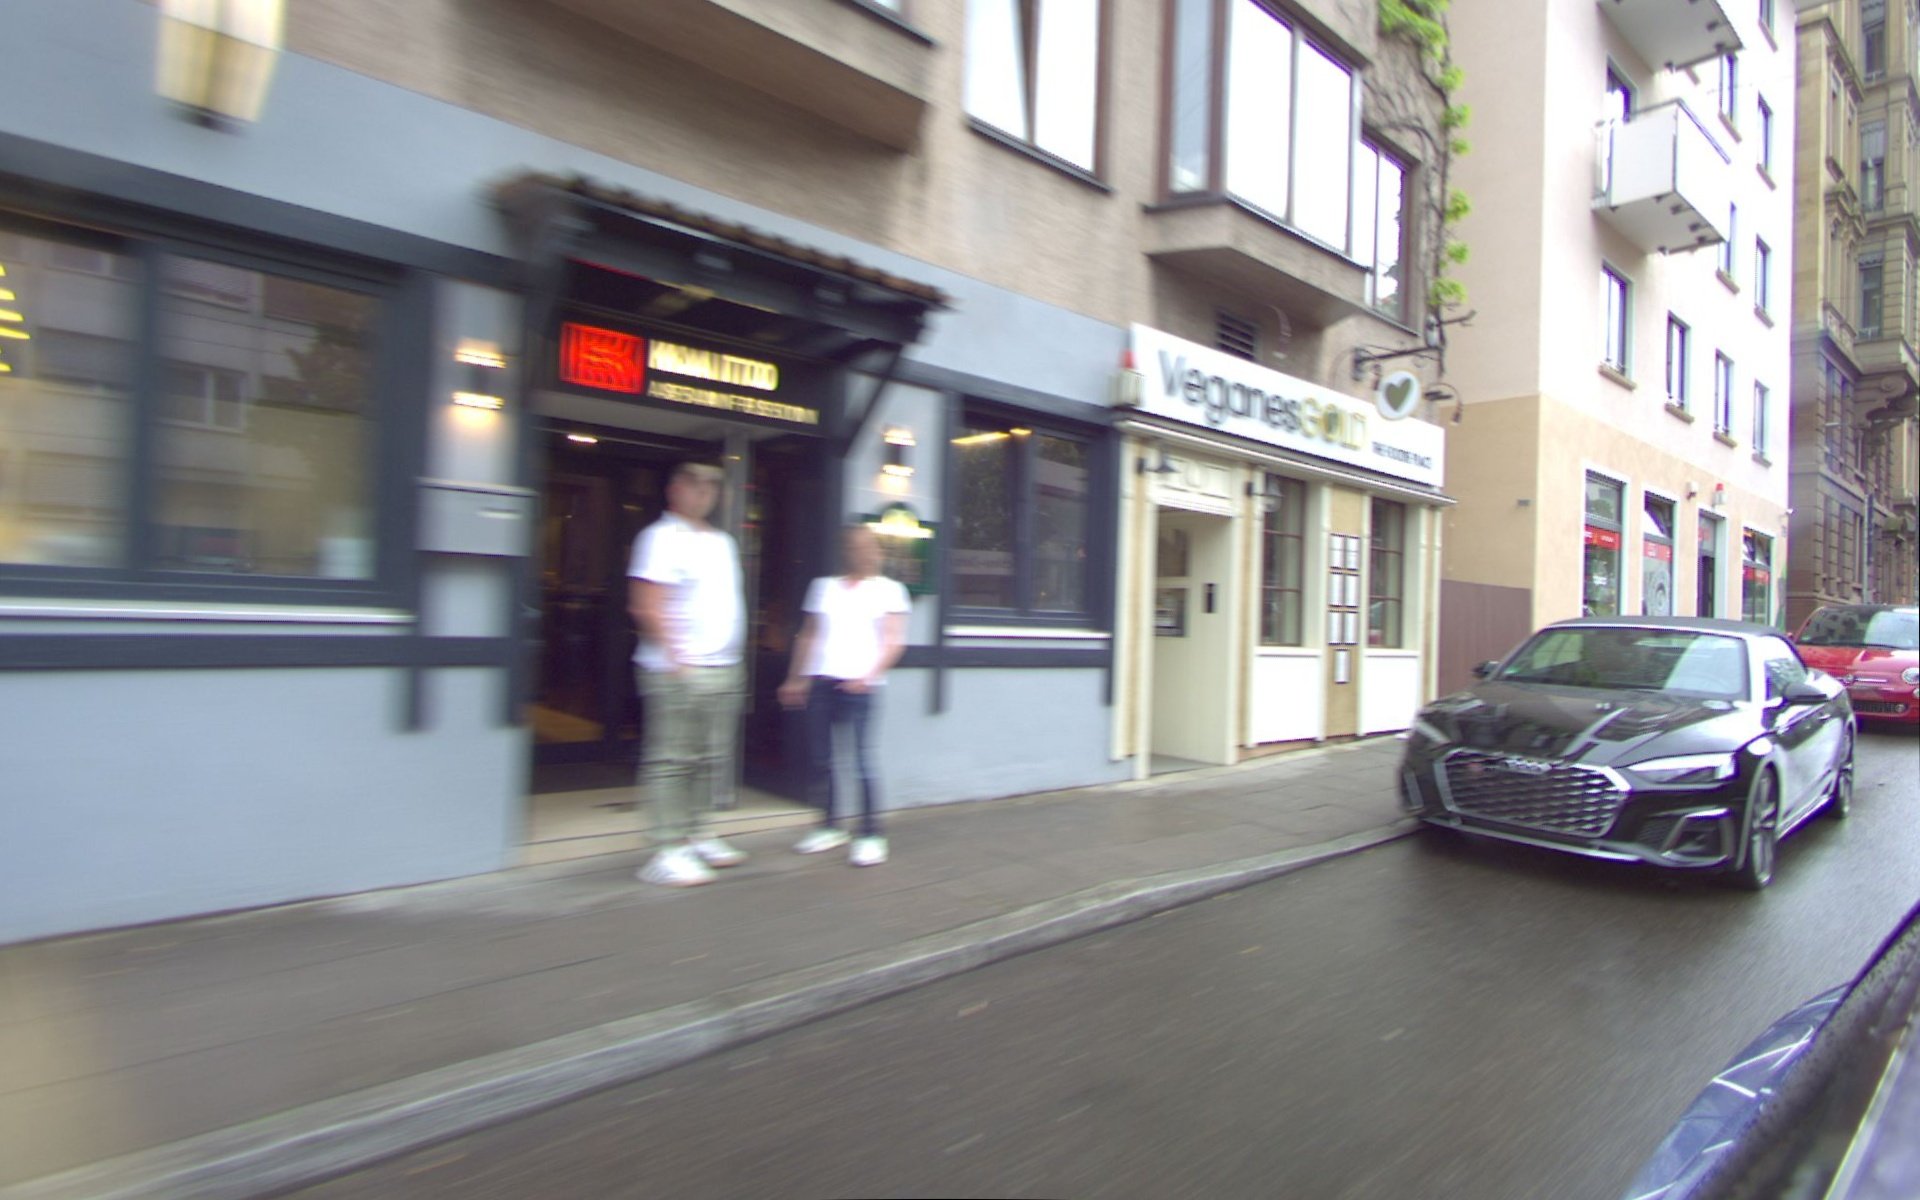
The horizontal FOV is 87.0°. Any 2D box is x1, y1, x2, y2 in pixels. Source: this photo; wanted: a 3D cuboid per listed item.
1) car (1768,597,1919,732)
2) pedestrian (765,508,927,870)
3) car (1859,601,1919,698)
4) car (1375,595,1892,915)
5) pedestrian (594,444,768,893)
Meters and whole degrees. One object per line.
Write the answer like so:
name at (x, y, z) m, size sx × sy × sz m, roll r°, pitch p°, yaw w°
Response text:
car at (11.699, 0.723, 12.825) m, size 3.353 × 1.480 × 1.649 m, roll 0°, pitch 1°, yaw -40°
pedestrian at (-0.578, 0.409, 5.150) m, size 0.544 × 1.701 × 0.587 m, roll 2°, pitch 1°, yaw 42°
car at (16.350, 0.780, 16.751) m, size 3.384 × 1.480 × 1.720 m, roll 0°, pitch 1°, yaw -40°
car at (4.763, 0.726, 6.910) m, size 4.171 × 1.480 × 1.910 m, roll 0°, pitch 1°, yaw -41°
pedestrian at (-1.270, 0.278, 4.617) m, size 0.528 × 1.881 × 0.548 m, roll 2°, pitch 1°, yaw 42°
